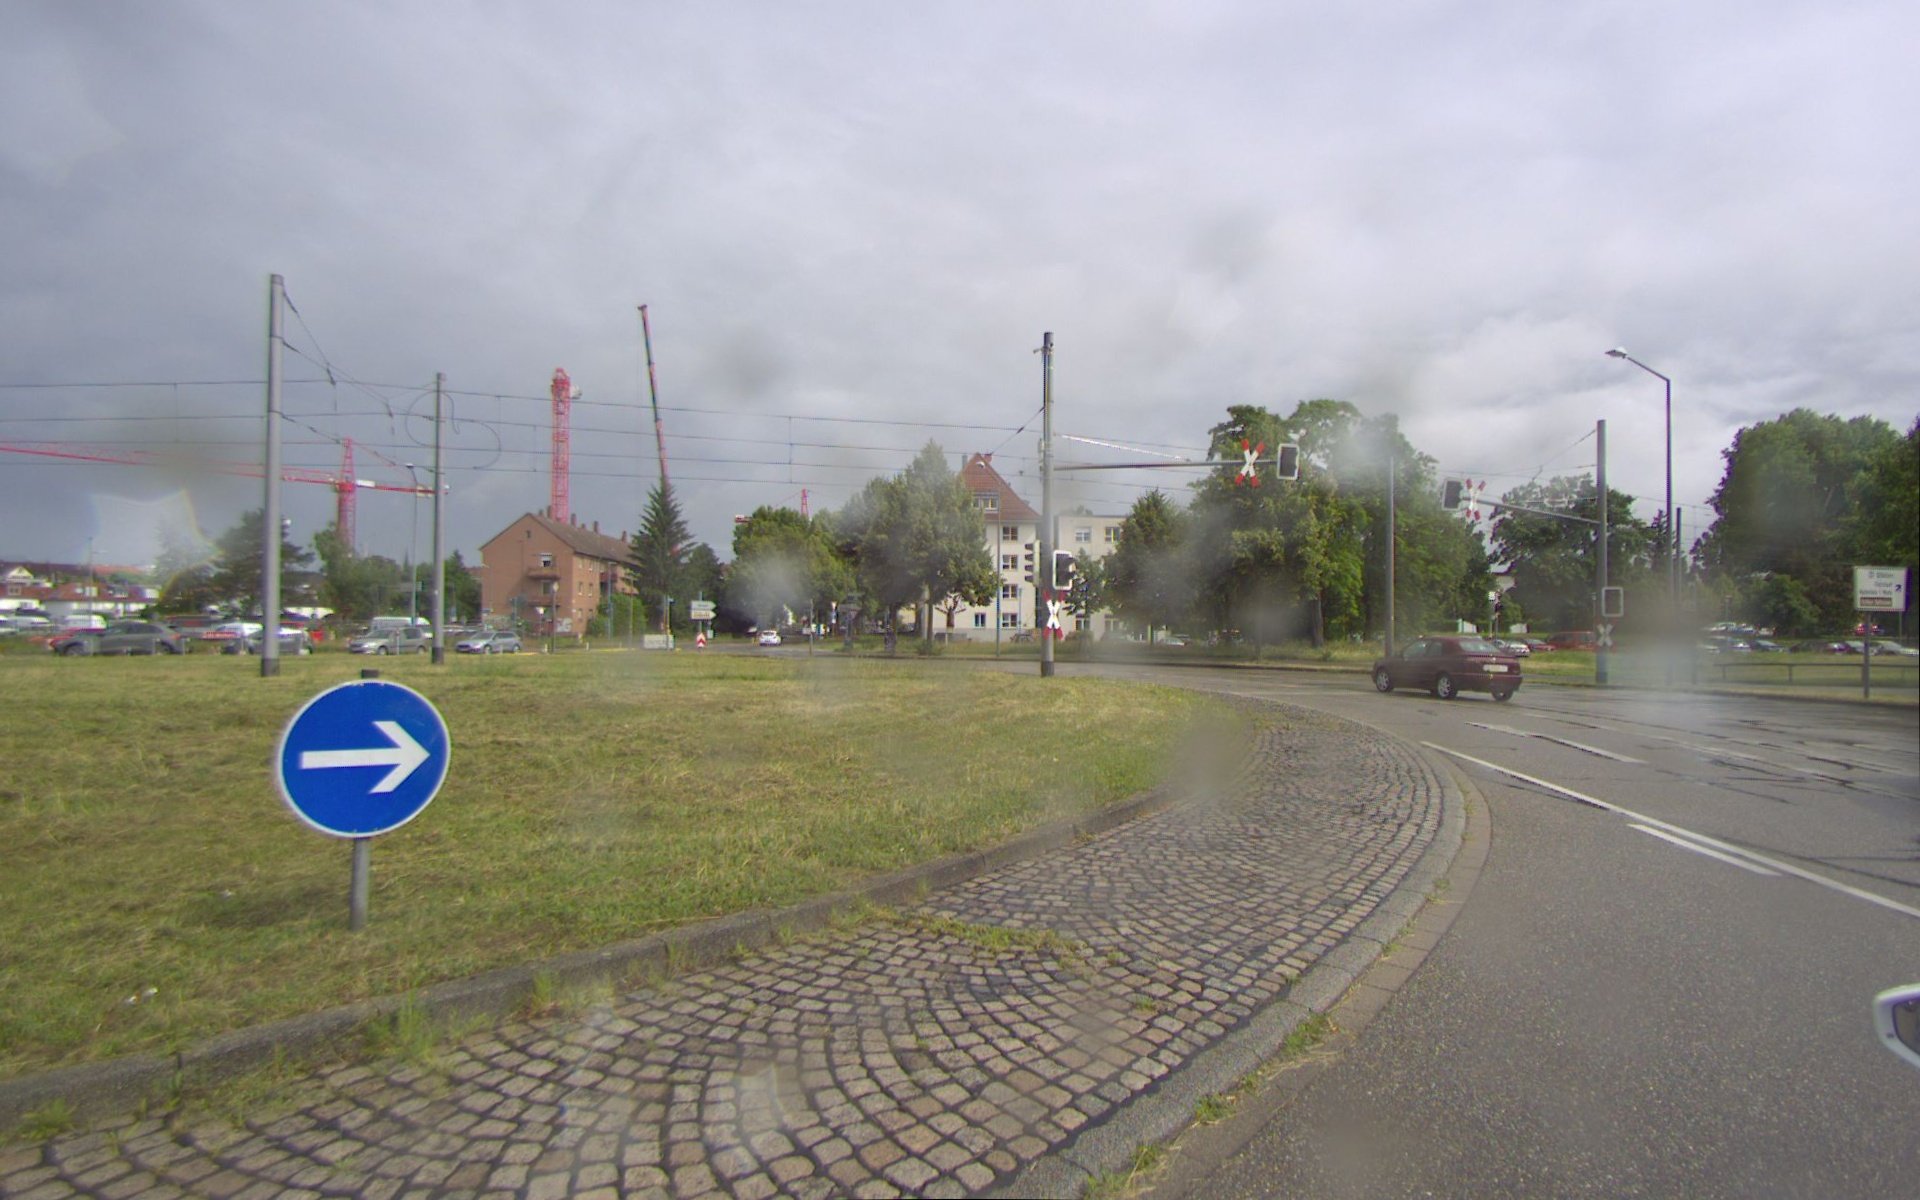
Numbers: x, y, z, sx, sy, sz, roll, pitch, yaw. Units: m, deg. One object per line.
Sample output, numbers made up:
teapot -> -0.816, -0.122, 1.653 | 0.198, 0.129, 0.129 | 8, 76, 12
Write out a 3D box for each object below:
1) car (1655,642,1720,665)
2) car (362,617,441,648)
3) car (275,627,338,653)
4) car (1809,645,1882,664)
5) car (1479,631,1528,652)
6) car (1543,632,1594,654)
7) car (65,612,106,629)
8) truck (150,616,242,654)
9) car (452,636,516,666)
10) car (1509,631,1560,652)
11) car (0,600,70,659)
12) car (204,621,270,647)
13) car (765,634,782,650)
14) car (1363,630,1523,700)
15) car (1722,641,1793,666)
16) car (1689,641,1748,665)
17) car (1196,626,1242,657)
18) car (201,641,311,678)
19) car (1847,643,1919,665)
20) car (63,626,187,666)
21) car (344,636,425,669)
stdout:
car -> 53.611, 3.920, 74.092 | 1.764, 1.548, 3.999 | 1, -2, -3
car -> -44.522, 2.576, 80.042 | 6.144, 2.112, 2.042 | 2, -1, 23
car -> -48.685, 2.941, 74.794 | 3.922, 1.722, 1.930 | 2, -1, 21
car -> 65.878, 4.036, 74.816 | 1.814, 1.325, 3.978 | 1, -2, -3
car -> 39.283, 2.996, 72.693 | 1.613, 1.481, 3.611 | 1, -2, -1
car -> 44.231, 3.082, 73.115 | 1.617, 1.530, 3.651 | 0, -2, 2
car -> -91.744, 2.112, 105.436 | 3.527, 1.745, 1.501 | 0, -1, 15
truck -> -51.596, 2.339, 67.840 | 5.986, 2.241, 2.396 | 2, -1, 26
car -> -27.665, 2.947, 58.488 | 1.567, 1.581, 3.552 | 1, -1, 10
car -> 41.749, 3.003, 73.093 | 1.613, 1.481, 3.611 | 1, -2, -1
car -> -42.709, 1.317, 44.879 | 3.944, 2.601, 1.787 | 1, -1, -24
car -> -52.516, 2.478, 72.969 | 3.920, 1.722, 1.859 | 2, -1, 16
car -> -18.145, 4.066, 97.502 | 1.523, 1.473, 3.492 | 0, -1, -13
car -> 11.607, 1.506, 24.442 | 1.688, 1.482, 3.997 | 0, -1, -6
car -> 58.796, 3.915, 74.111 | 1.961, 1.737, 4.000 | 1, -2, -2
car -> 55.934, 3.895, 74.147 | 1.520, 1.682, 3.628 | 1, -2, -3
car -> 18.614, 2.982, 72.403 | 2.071, 2.085, 5.162 | 0, -1, 1
car -> -33.296, 2.759, 47.558 | 1.772, 1.606, 3.978 | 0, -1, 43
car -> 68.615, 3.997, 74.584 | 1.814, 1.580, 3.978 | 1, -2, -3
car -> -34.435, 1.892, 41.532 | 3.632, 1.581, 1.562 | 1, -1, -28
car -> -29.160, 2.633, 51.035 | 1.519, 1.581, 3.502 | 1, -1, 15
